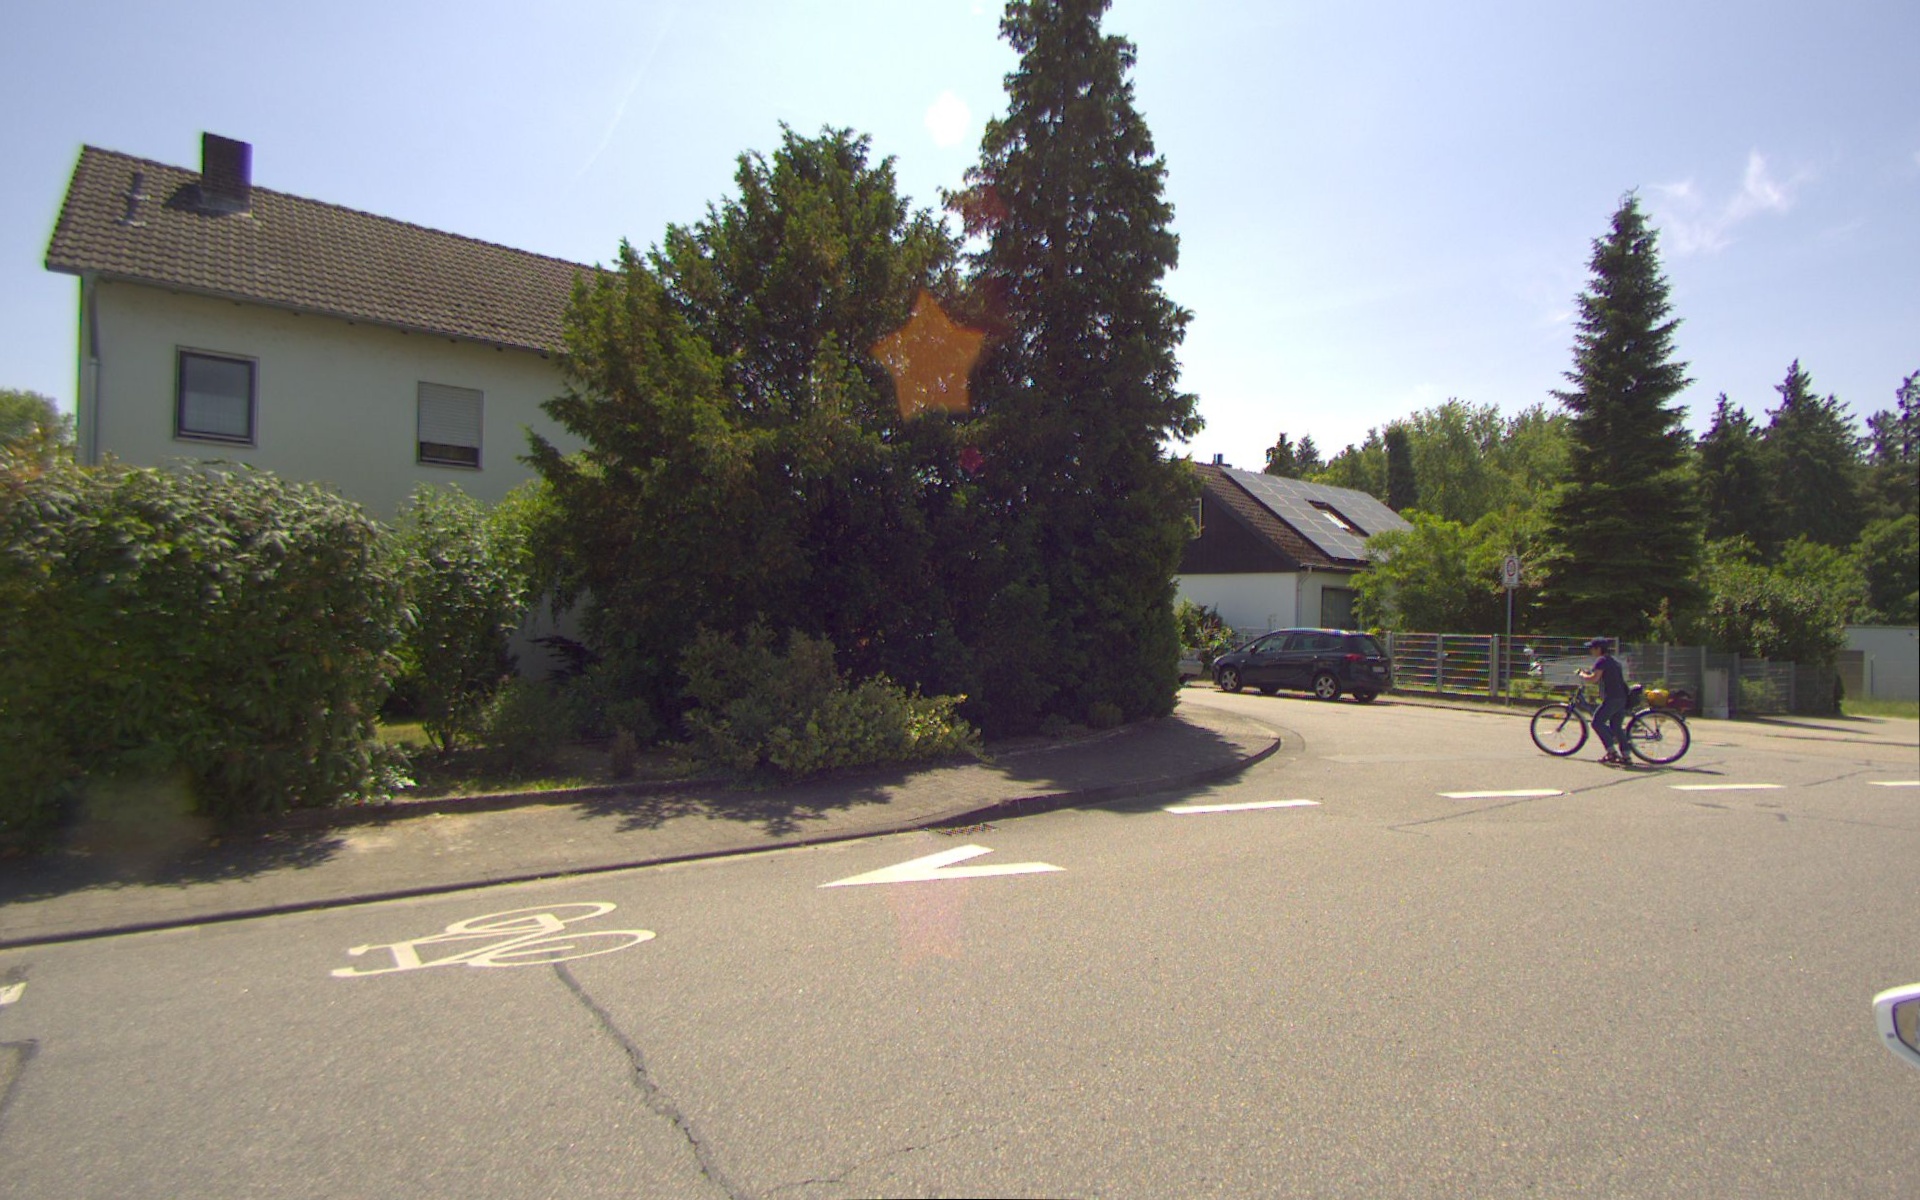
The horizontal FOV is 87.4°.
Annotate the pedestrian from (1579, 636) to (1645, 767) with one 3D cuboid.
[{"bbox_3d":[7.909,1.212,12.196,0.601,1.520,0.504,1,-1,28],"label":"pedestrian"}]

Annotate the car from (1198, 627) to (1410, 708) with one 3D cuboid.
[{"bbox_3d":[8.315,1.581,24.669,1.951,1.684,4.634,2,-1,-36],"label":"car"}]

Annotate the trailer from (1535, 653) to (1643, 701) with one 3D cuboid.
[{"bbox_3d":[16.432,1.983,26.256,1.099,1.098,2.193,3,-1,-44],"label":"trailer"}]

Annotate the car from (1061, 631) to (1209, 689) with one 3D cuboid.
[{"bbox_3d":[4.987,1.691,29.149,1.676,1.479,4.293,2,-2,-36],"label":"car"}]

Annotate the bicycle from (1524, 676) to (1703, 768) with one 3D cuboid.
[{"bbox_3d":[8.083,1.485,12.506,1.815,0.976,0.443,1,-1,28],"label":"bicycle"}]
